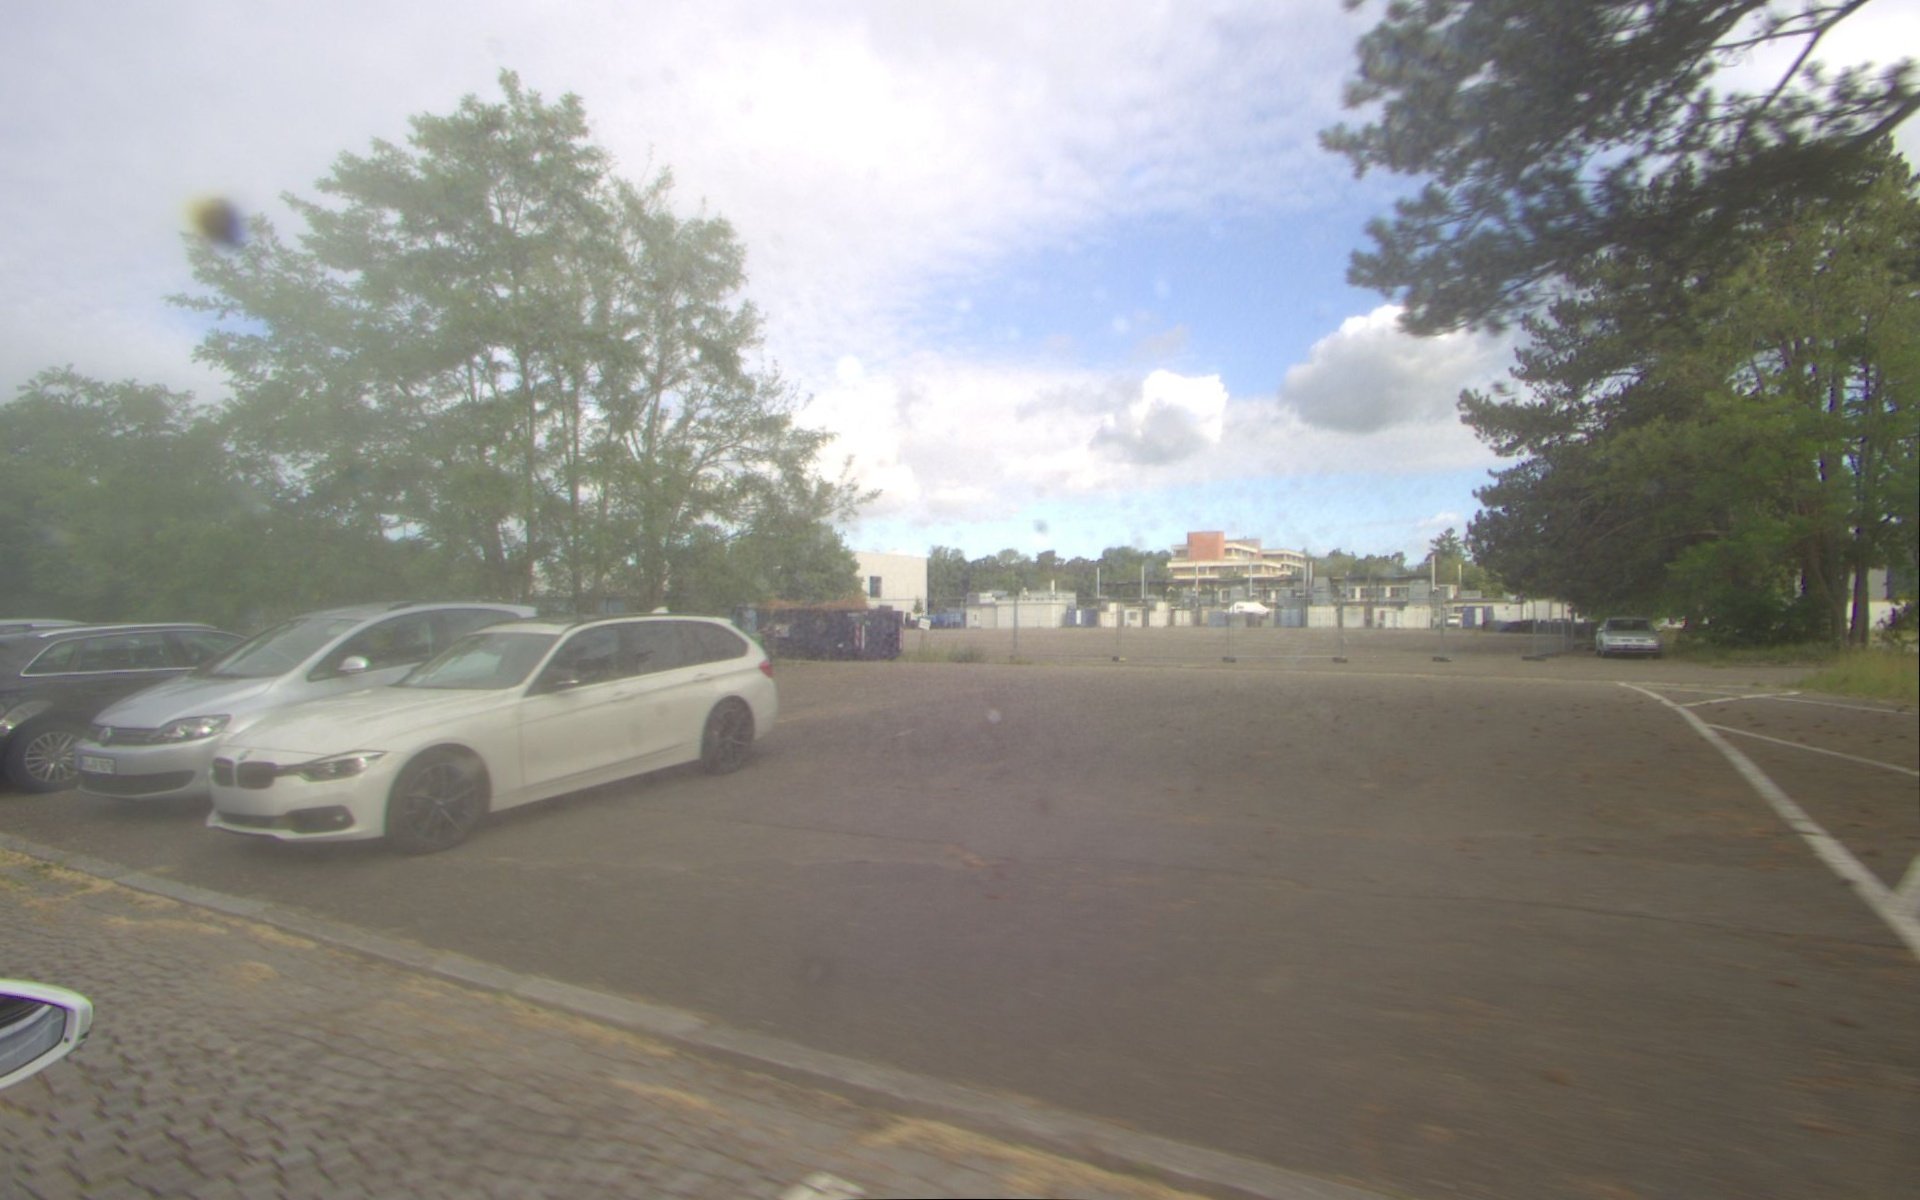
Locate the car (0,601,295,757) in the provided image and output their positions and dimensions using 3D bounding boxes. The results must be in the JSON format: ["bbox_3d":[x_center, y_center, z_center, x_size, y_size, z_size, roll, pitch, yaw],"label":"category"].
[{"bbox_3d":[-10.453,0.854,11.714,1.776,1.536,4.068,0,2,28],"label":"car"}]

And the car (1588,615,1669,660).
[{"bbox_3d":[23.544,1.272,35.391,1.942,1.502,3.985,0,-1,27],"label":"car"}]

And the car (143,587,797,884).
[{"bbox_3d":[-3.457,0.755,8.111,1.876,1.587,4.486,0,2,28],"label":"car"}]

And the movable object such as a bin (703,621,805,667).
[{"bbox_3d":[-4.782,1.010,23.475,0.840,1.001,2.680,0,-1,27],"label":"movable object such as a bin"}]

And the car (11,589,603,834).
[{"bbox_3d":[-5.648,0.773,9.344,1.855,1.618,4.235,0,2,27],"label":"car"}]

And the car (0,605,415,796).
[{"bbox_3d":[-8.163,0.867,10.342,1.856,1.473,4.068,0,2,28],"label":"car"}]
